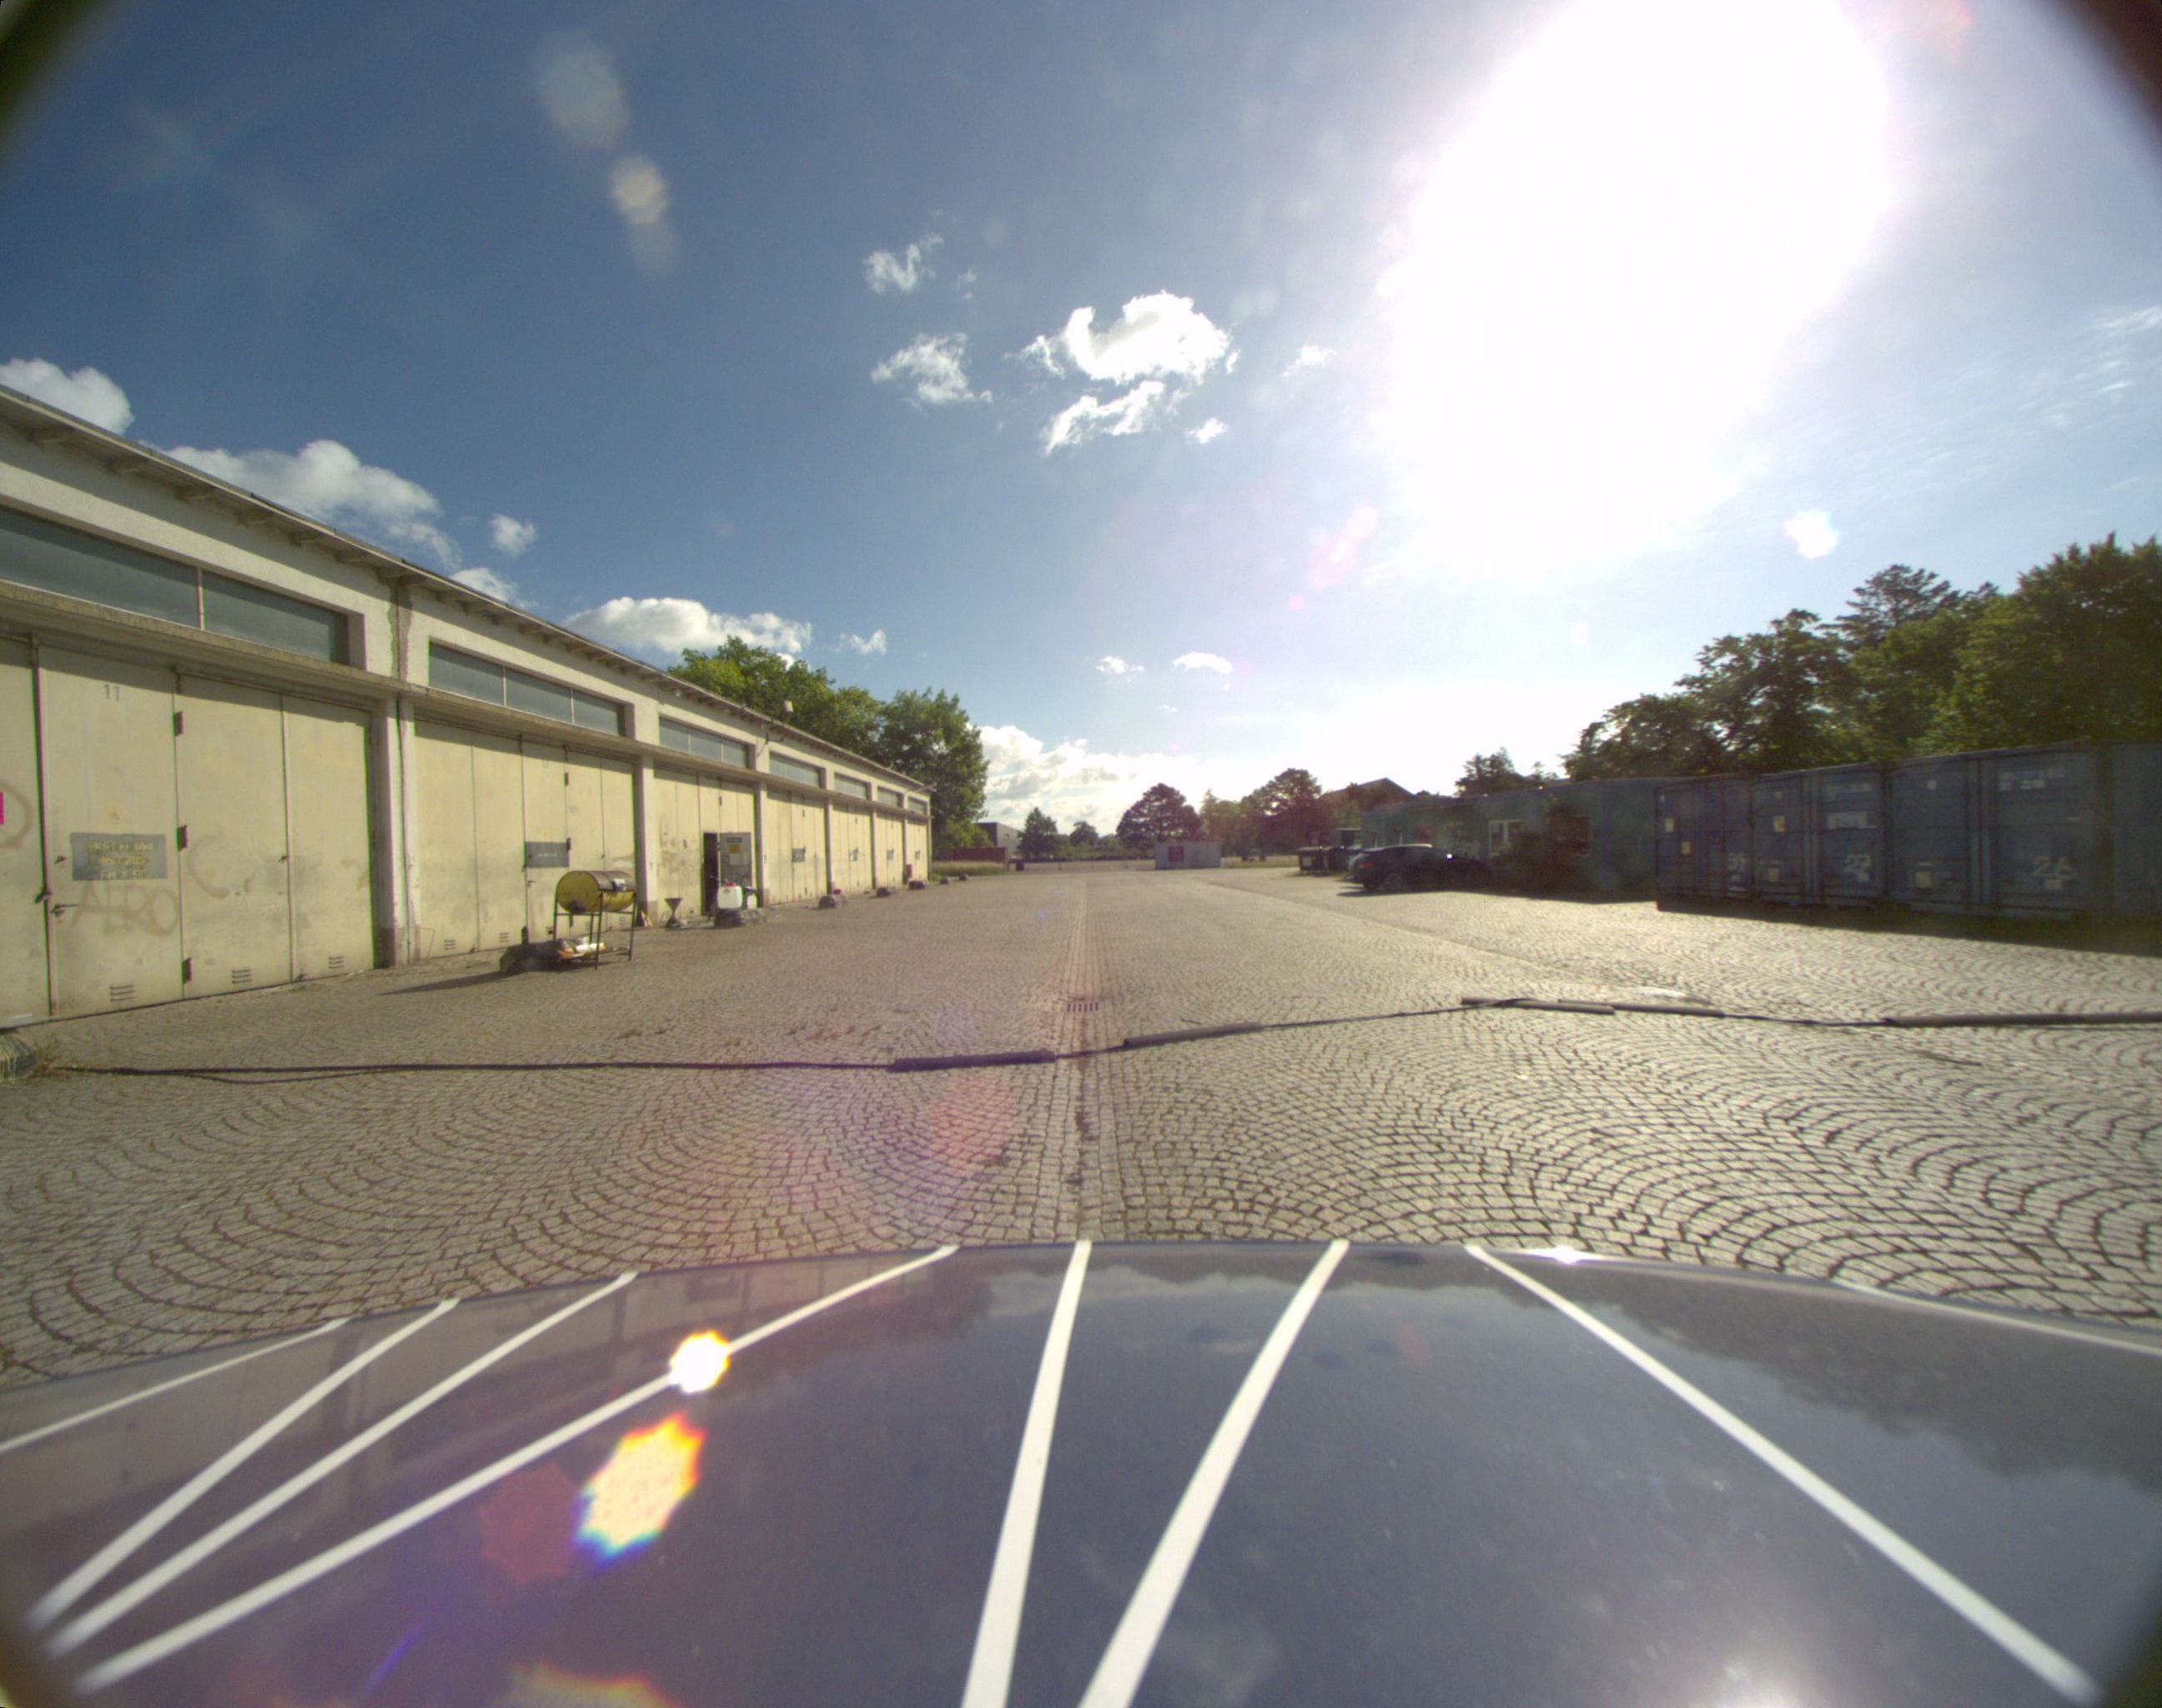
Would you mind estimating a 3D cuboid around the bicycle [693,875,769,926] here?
[{"bbox_3d":[-8.555,1.115,18.666,0.665,1.062,1.825,-2,1,13],"label":"bicycle"}]

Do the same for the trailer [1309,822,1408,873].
[{"bbox_3d":[15.321,-0.359,42.074,4.649,2.553,1.950,-3,1,-4],"label":"trailer"}]

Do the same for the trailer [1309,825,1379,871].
[{"bbox_3d":[15.362,-0.354,44.524,3.393,2.456,2.044,-2,1,1],"label":"trailer"}]

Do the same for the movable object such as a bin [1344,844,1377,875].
[{"bbox_3d":[13.648,0.255,37.150,0.885,1.449,1.439,-3,1,-10],"label":"movable object such as a bin"}]

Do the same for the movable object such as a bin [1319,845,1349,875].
[{"bbox_3d":[12.906,0.307,38.833,1.020,1.449,1.440,-2,1,0],"label":"movable object such as a bin"}]

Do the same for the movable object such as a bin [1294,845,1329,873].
[{"bbox_3d":[12.420,0.266,40.945,1.434,1.449,1.158,-1,2,43],"label":"movable object such as a bin"}]

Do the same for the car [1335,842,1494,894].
[{"bbox_3d":[10.680,0.415,24.568,4.263,1.441,1.931,-2,1,-2],"label":"car"}]
